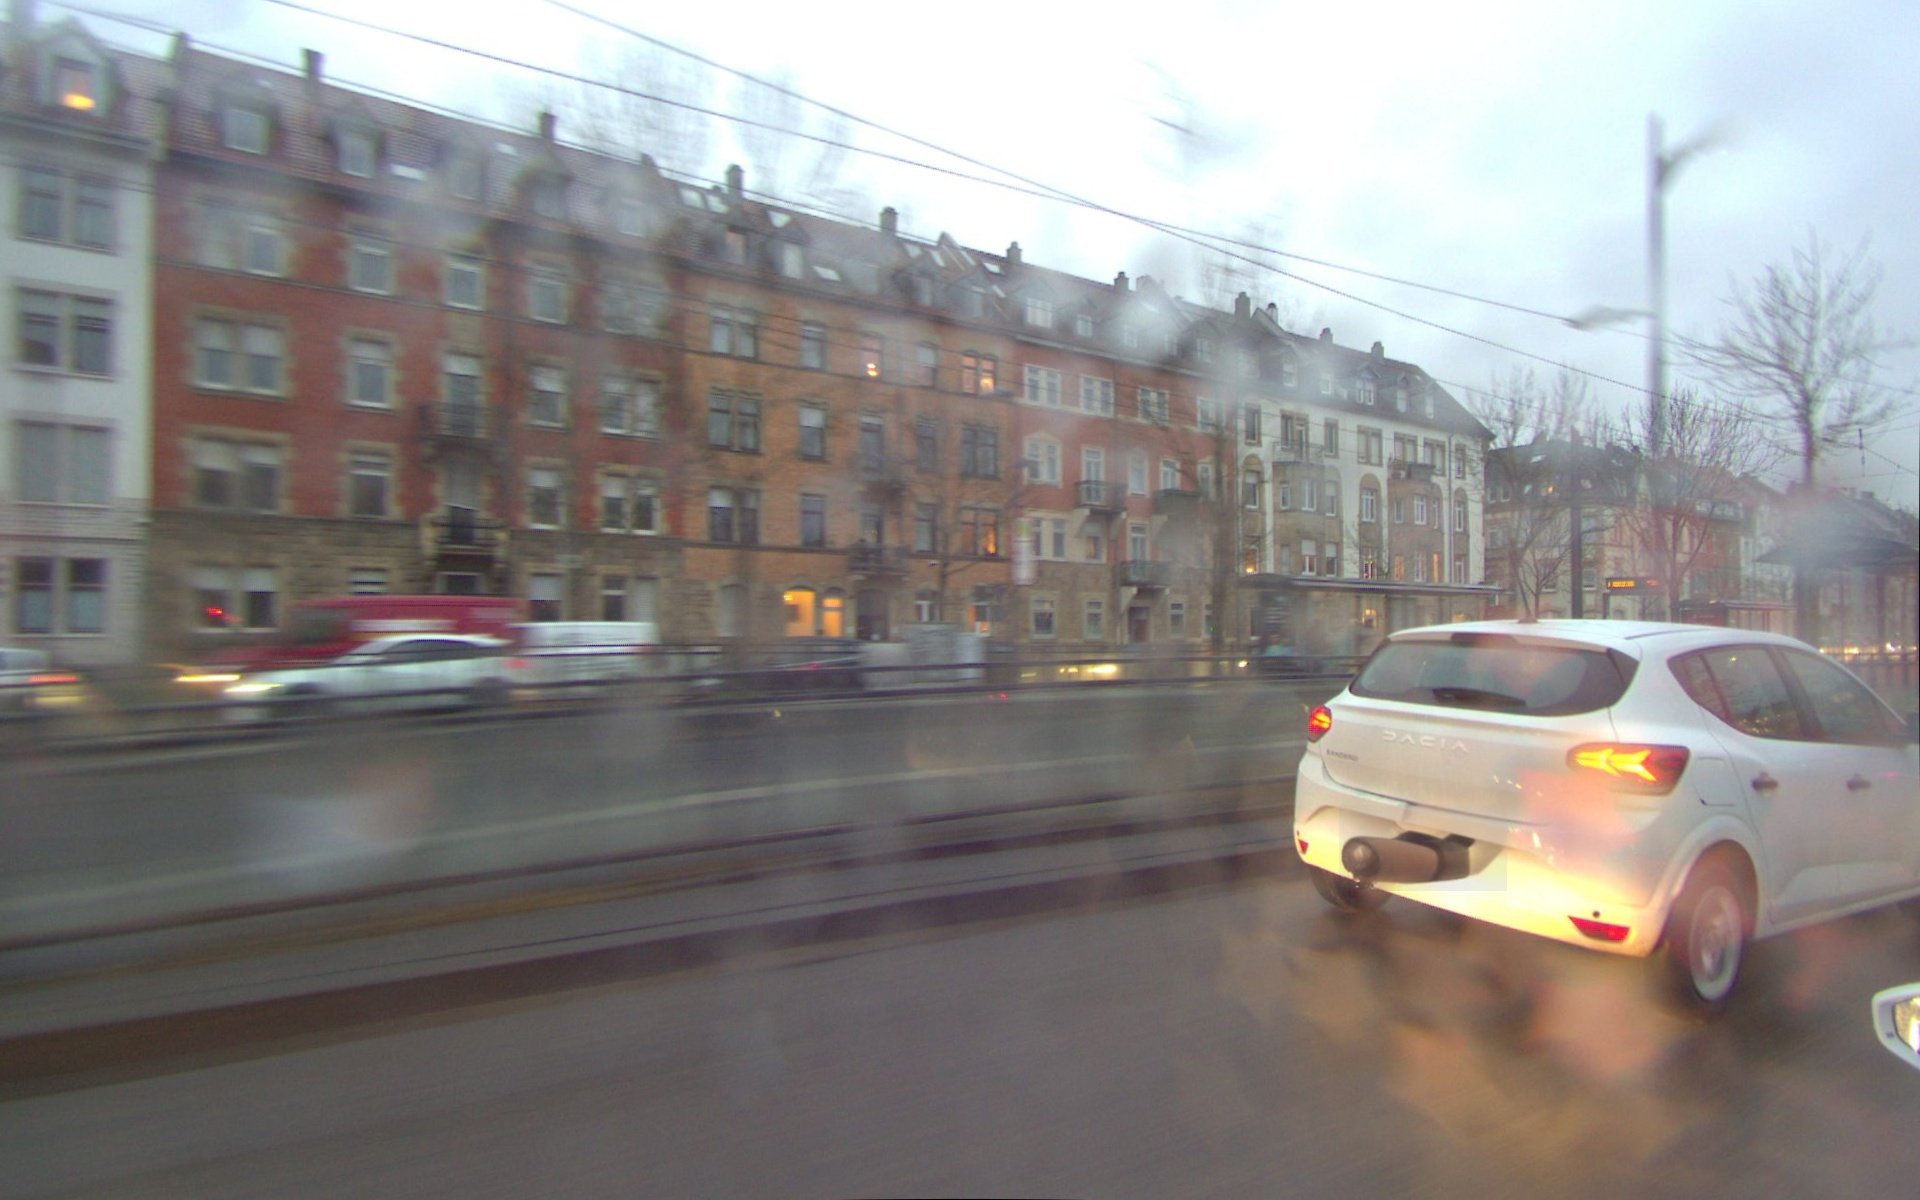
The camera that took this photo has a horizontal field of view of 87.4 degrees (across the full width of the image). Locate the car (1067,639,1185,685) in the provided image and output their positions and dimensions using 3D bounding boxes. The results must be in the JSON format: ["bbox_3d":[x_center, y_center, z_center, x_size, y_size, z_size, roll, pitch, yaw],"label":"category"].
[{"bbox_3d":[4.777,1.761,28.846,3.161,1.224,1.527,1,-3,-34],"label":"car"}]

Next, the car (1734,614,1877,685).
[{"bbox_3d":[23.530,1.362,27.932,3.958,1.846,1.982,1,-3,-34],"label":"car"}]

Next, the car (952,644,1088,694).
[{"bbox_3d":[1.898,2.107,31.239,3.958,1.416,1.801,1,-3,-34],"label":"car"}]

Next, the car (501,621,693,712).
[{"bbox_3d":[-8.507,1.507,23.612,3.903,1.966,1.981,1,-3,-35],"label":"car"}]

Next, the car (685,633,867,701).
[{"bbox_3d":[-3.560,1.273,19.549,3.161,1.223,1.527,1,-4,-34],"label":"car"}]

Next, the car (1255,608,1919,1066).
[{"bbox_3d":[3.522,0.822,5.001,3.951,1.506,1.620,0,-2,-29],"label":"car"}]

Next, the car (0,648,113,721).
[{"bbox_3d":[-17.538,1.477,17.498,4.042,1.243,1.528,1,-3,-32],"label":"car"}]

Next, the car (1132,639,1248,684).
[{"bbox_3d":[7.971,2.092,34.671,3.958,1.415,1.651,1,-3,-34],"label":"car"}]

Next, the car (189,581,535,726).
[{"bbox_3d":[-10.795,0.933,18.491,5.210,2.340,1.982,1,-3,-34],"label":"car"}]

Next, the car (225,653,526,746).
[{"bbox_3d":[-9.311,1.522,16.212,4.045,1.262,1.527,1,-3,-35],"label":"car"}]
